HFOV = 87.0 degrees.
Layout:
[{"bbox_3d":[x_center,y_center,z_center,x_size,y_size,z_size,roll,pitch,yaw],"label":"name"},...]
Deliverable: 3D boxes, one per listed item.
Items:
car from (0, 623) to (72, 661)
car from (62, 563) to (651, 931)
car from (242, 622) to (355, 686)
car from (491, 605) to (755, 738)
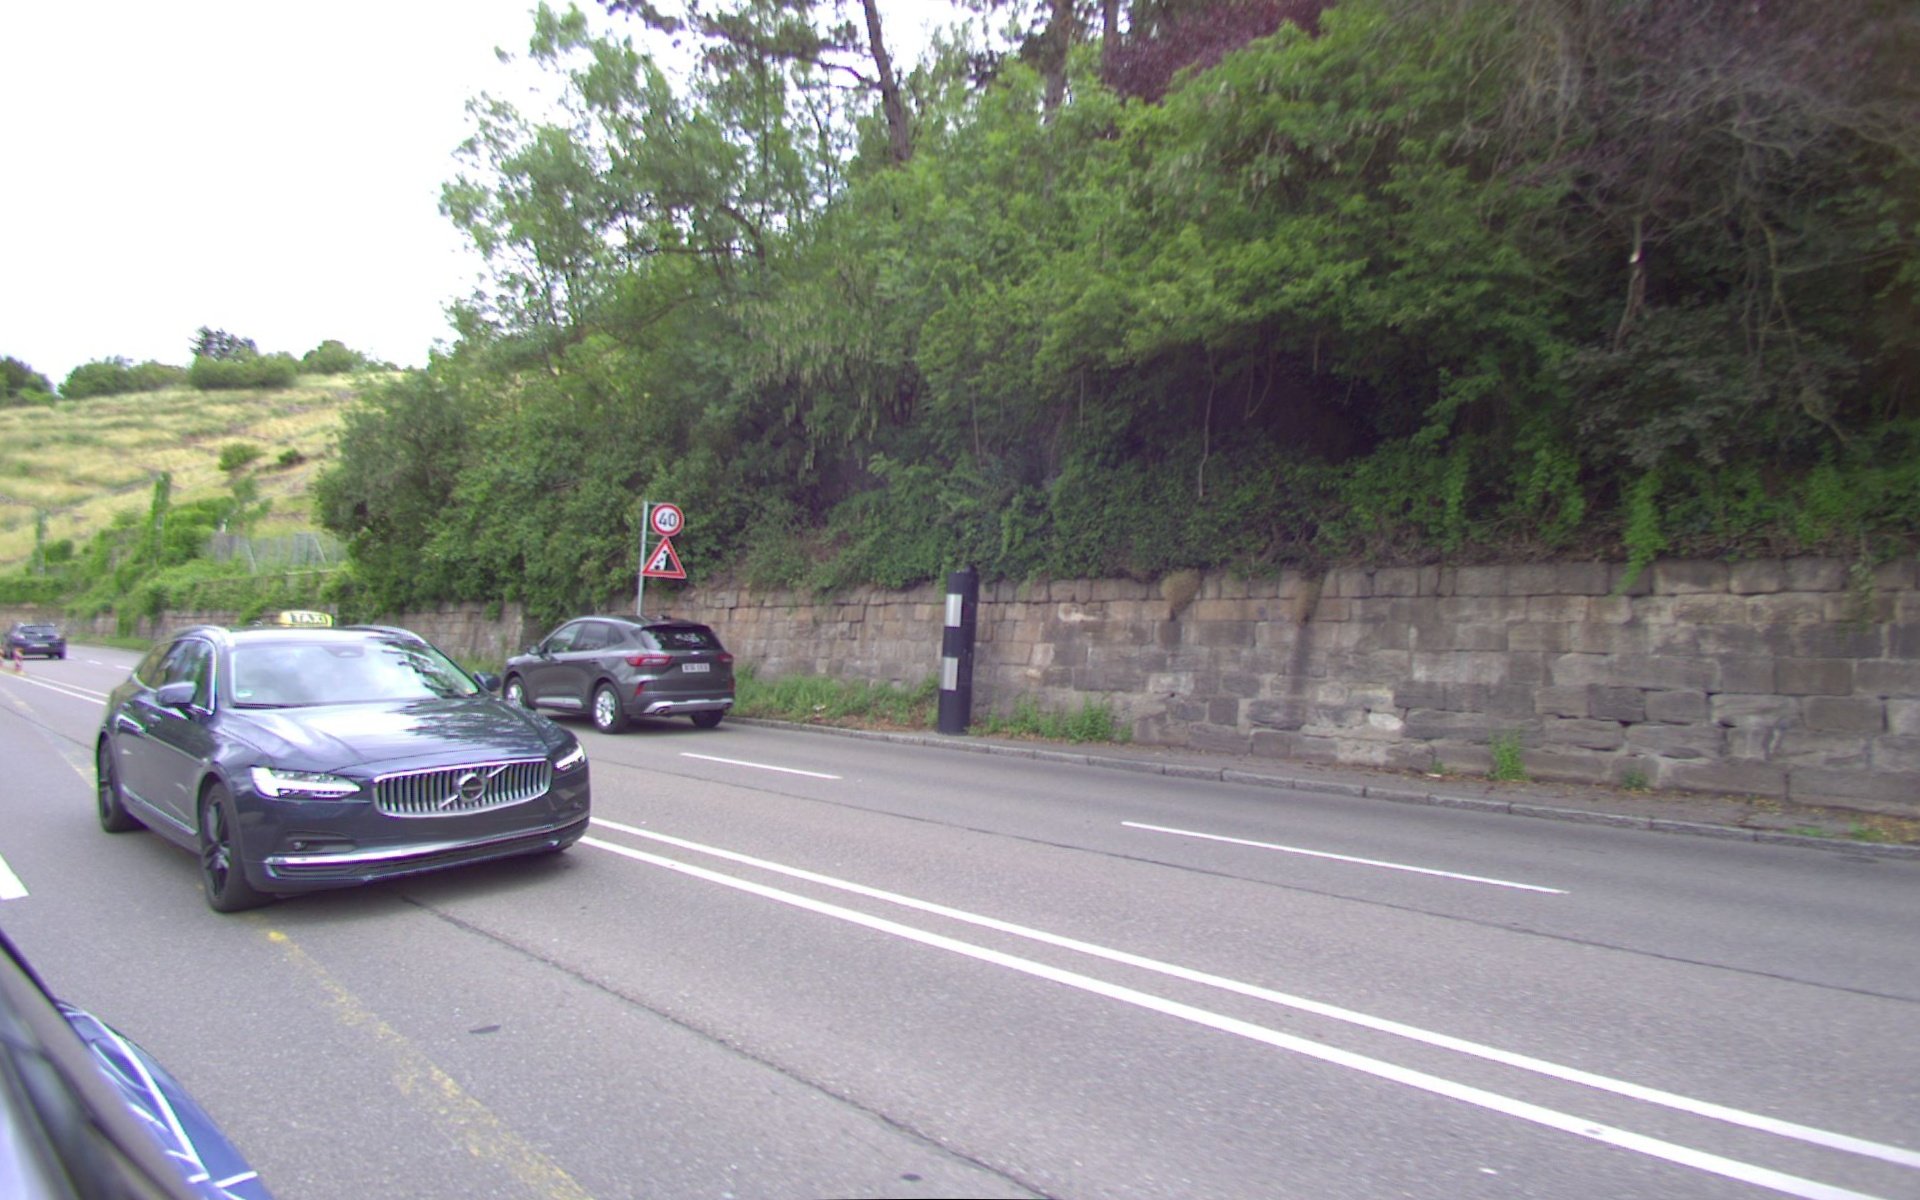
[{"bbox_3d":[-37.859,1.669,41.268,4.292,1.457,1.838,-1,-2,40],"label":"car"},{"bbox_3d":[-4.296,0.678,6.757,5.024,1.588,1.915,-1,-1,41],"label":"car"},{"bbox_3d":[-16.738,1.312,25.561,3.523,1.472,1.566,-1,-1,42],"label":"car"},{"bbox_3d":[-5.172,0.971,15.225,4.468,1.710,1.796,-1,-2,42],"label":"car"}]
